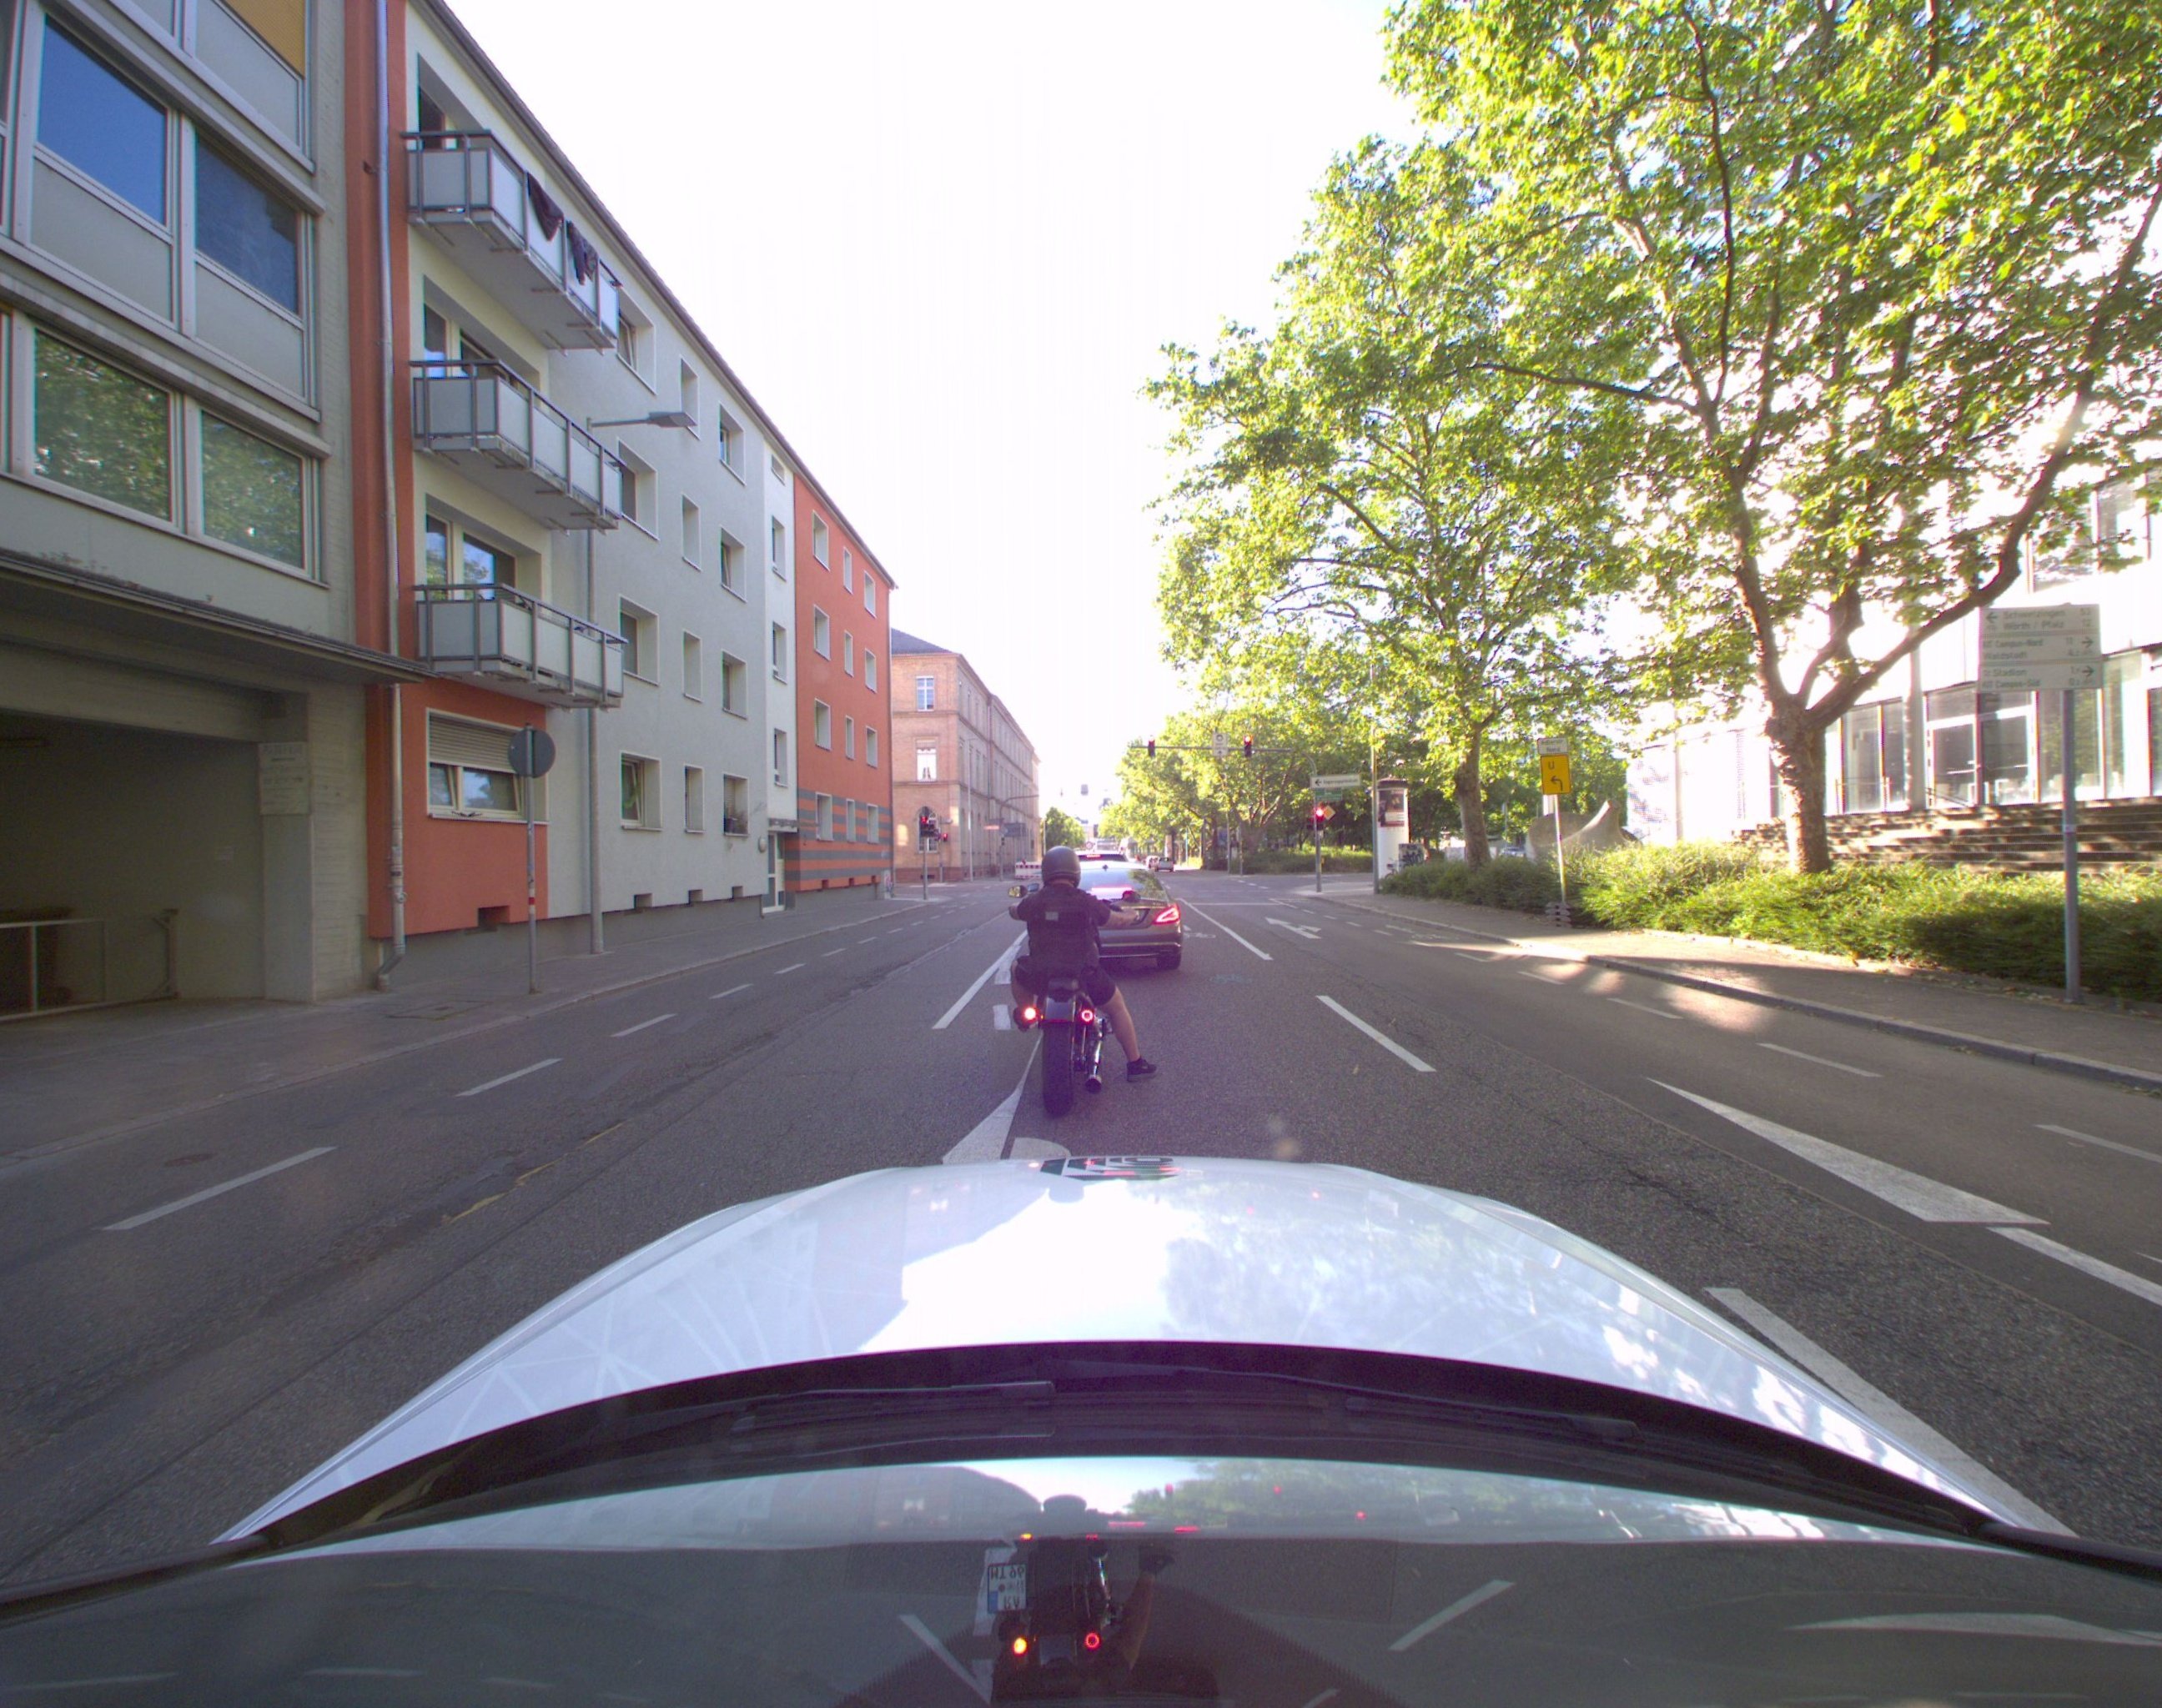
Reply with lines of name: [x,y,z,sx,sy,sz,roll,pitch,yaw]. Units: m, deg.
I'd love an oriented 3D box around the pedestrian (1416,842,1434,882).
pedestrian: [15.786,0.361,37.399,0.549,1.849,0.594,-1,0,3]

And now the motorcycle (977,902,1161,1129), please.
motorcycle: [-0.026,0.959,5.683,0.986,1.078,2.453,-1,0,2]

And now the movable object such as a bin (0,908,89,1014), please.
movable object such as a bin: [-11.315,1.117,8.684,0.593,1.041,0.703,0,-1,1]

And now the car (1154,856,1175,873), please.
car: [7.930,0.952,77.591,1.814,1.481,3.911,-3,0,3]

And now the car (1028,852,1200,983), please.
car: [0.258,0.743,11.722,1.943,1.473,4.355,-1,0,-5]

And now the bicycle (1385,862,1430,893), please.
bicycle: [11.021,0.792,27.529,1.346,1.023,0.363,-1,0,2]

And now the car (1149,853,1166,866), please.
car: [8.916,0.650,94.826,1.848,1.486,3.912,0,-1,3]

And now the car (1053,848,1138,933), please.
car: [0.322,0.707,17.892,1.606,1.607,4.329,-1,0,1]

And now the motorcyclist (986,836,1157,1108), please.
motorcyclist: [-0.035,0.700,5.530,0.986,1.597,1.404,-1,0,2]
